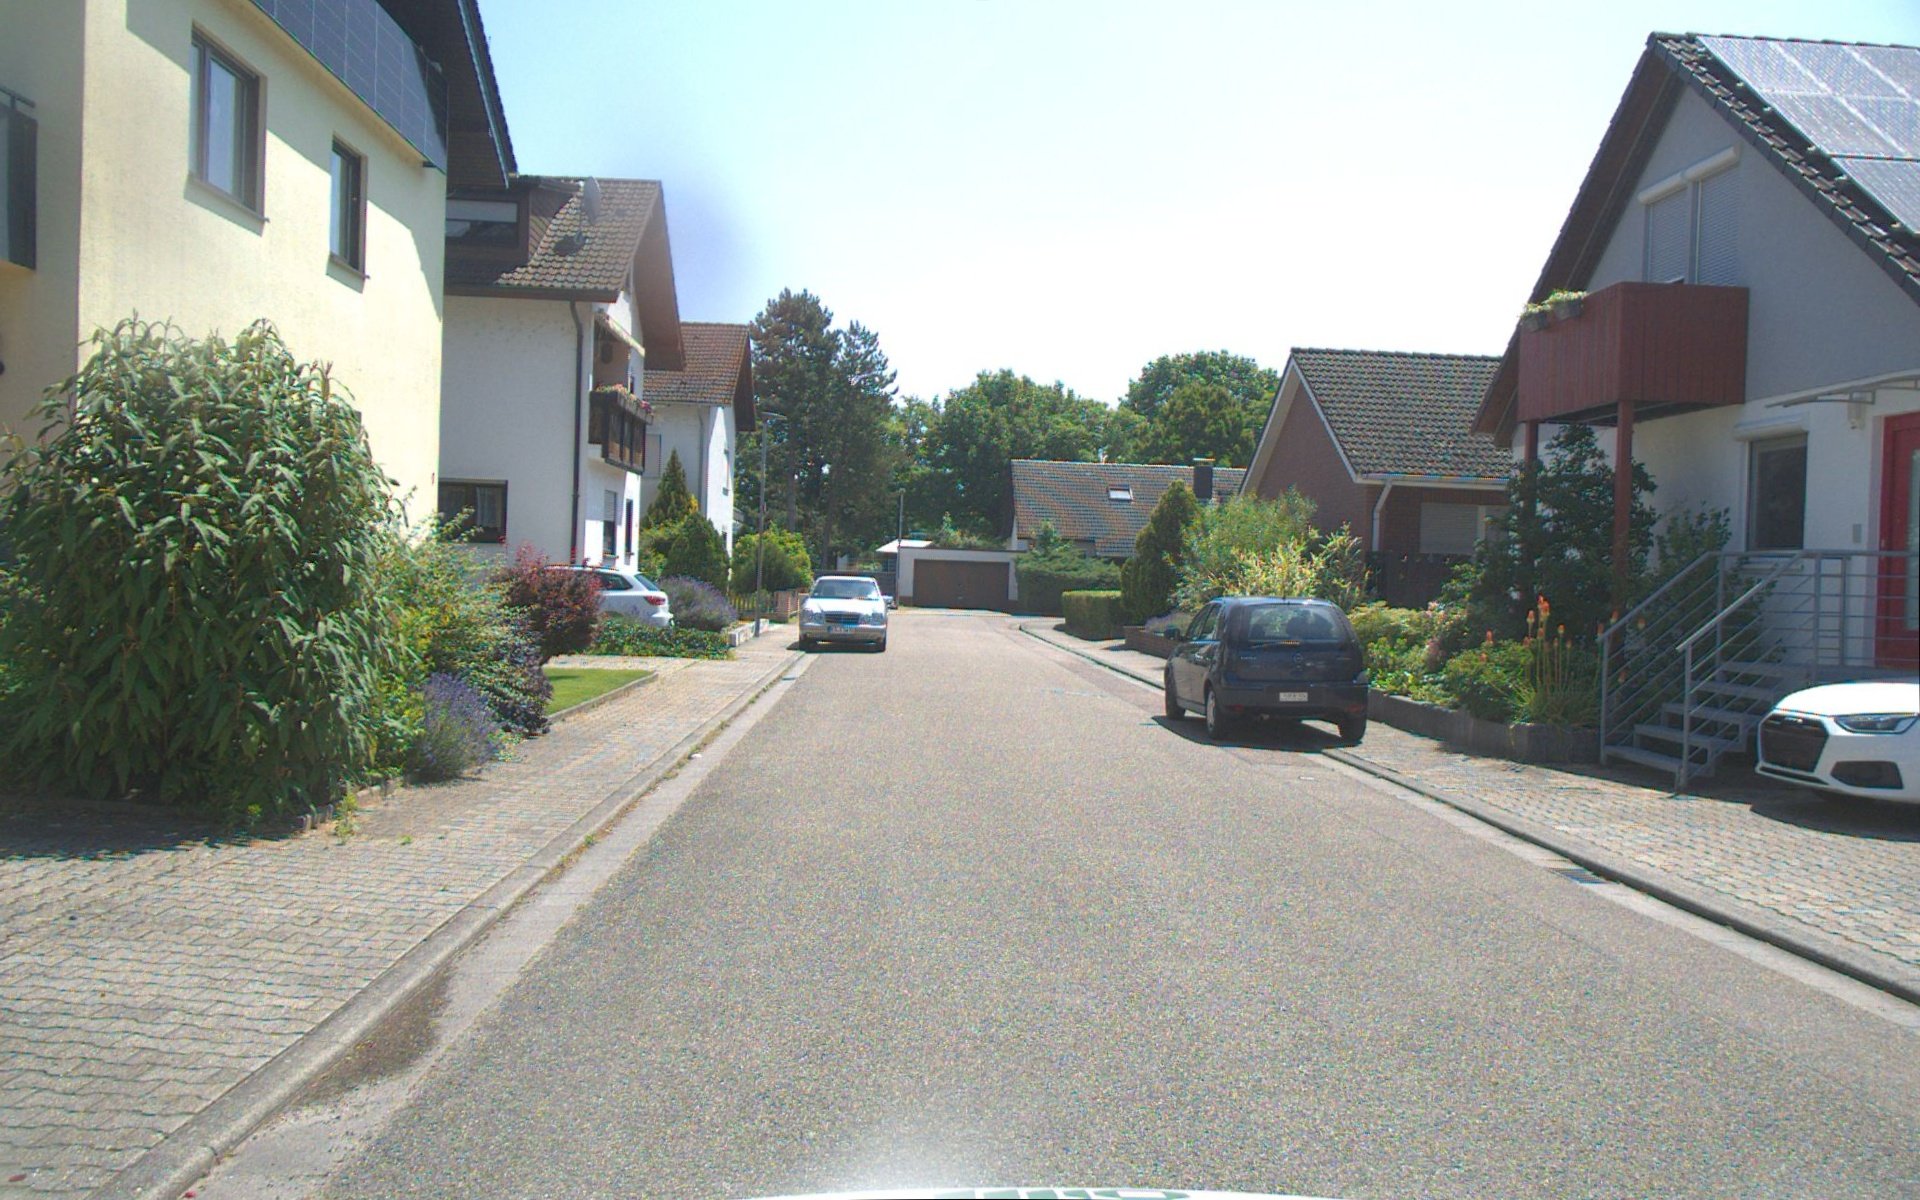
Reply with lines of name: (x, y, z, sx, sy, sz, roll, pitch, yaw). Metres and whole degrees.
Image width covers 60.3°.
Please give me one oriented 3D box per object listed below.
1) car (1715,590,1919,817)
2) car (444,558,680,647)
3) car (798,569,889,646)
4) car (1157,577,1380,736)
car: (8.055, 0.732, 11.768, 4.445, 1.420, 1.952, 2, 1, -1)
car: (-7.084, 0.028, 29.797, 3.912, 1.444, 1.842, 2, 1, -8)
car: (-2.336, 0.105, 34.034, 1.665, 1.417, 4.336, 2, 1, -2)
car: (3.250, 0.534, 18.058, 1.617, 1.465, 3.651, 2, 1, -2)
